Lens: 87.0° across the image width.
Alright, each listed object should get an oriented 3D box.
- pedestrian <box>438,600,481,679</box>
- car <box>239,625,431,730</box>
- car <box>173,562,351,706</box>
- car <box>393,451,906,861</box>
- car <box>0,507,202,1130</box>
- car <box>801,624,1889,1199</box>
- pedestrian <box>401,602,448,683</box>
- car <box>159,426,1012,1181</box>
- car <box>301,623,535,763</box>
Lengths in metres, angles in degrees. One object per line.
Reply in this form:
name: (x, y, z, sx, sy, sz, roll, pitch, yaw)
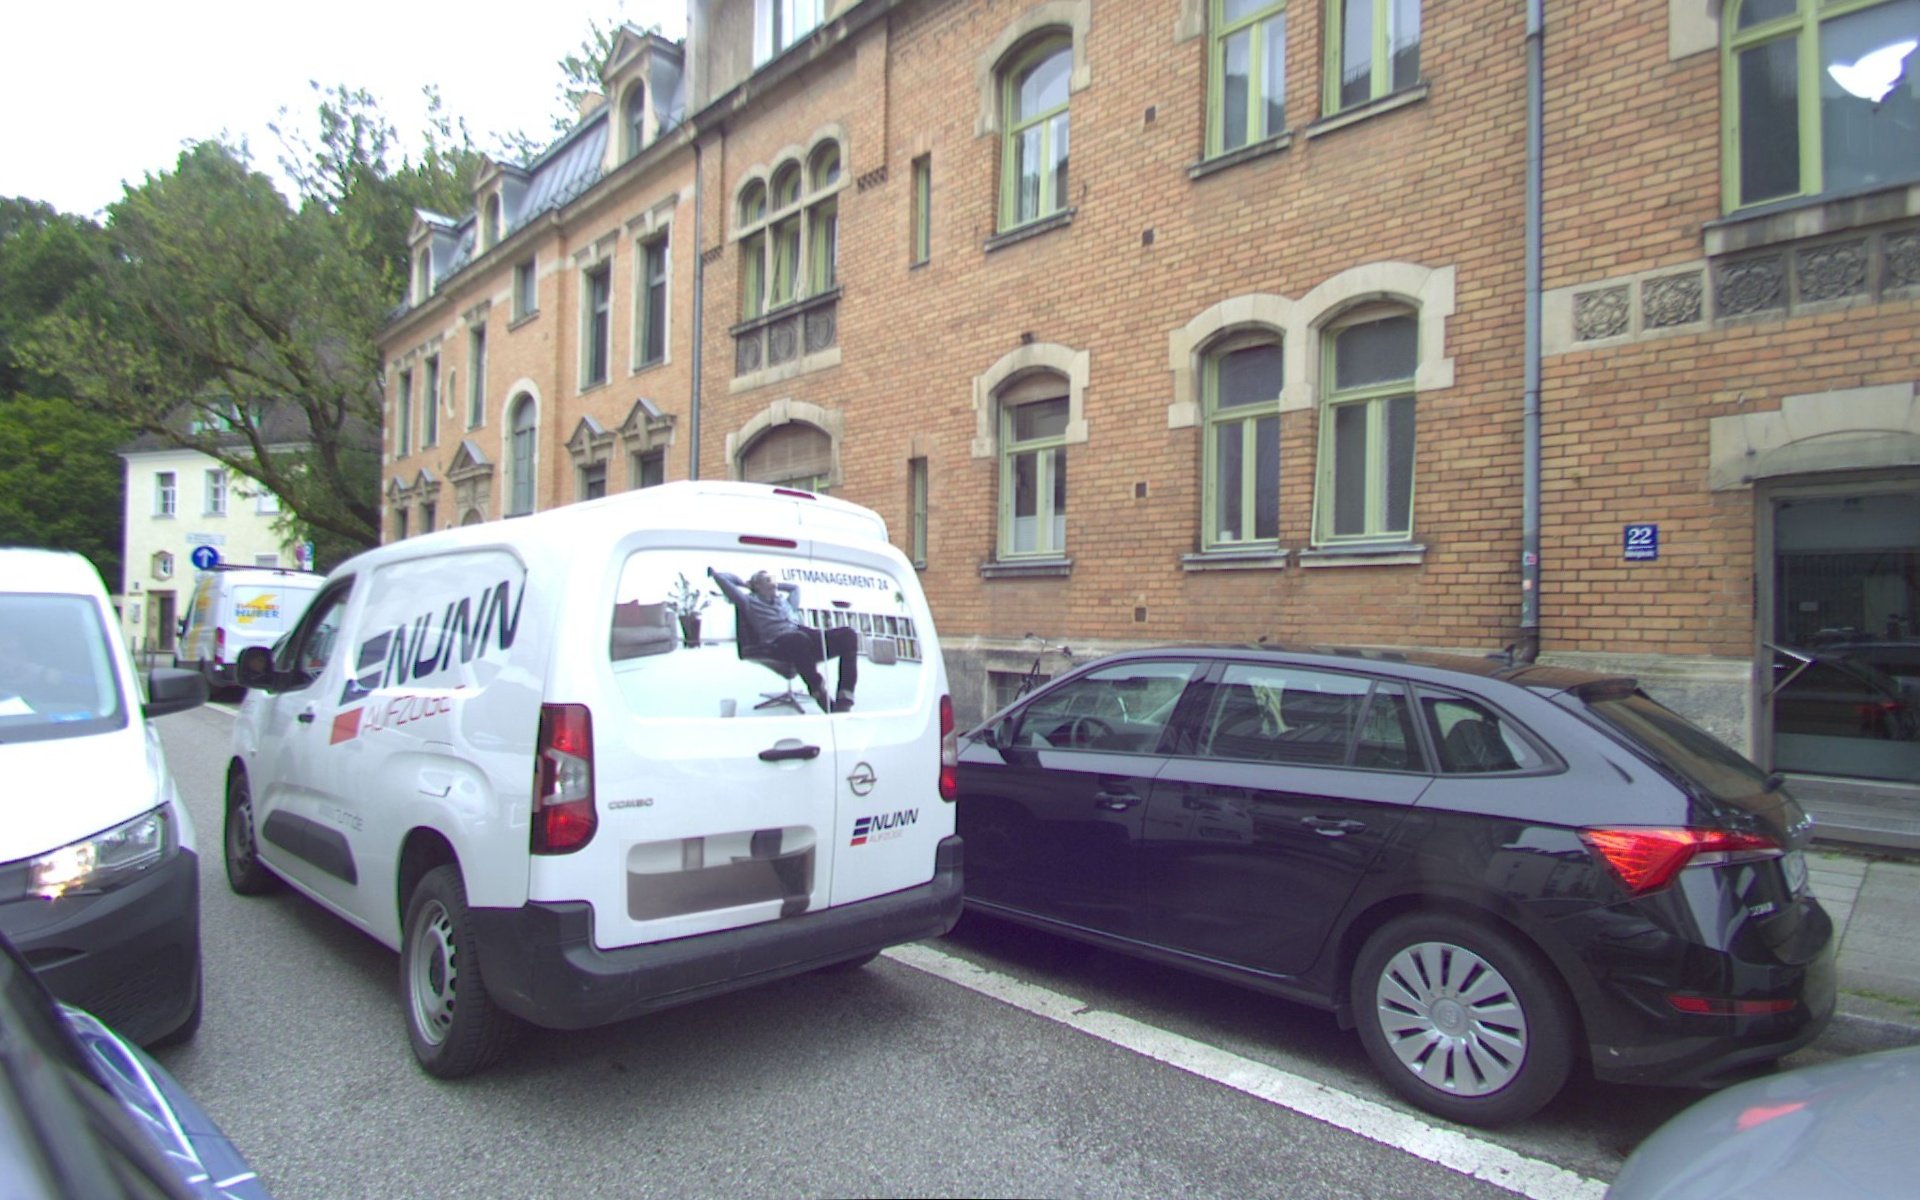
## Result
pedestrian: (-10.644, 0.852, 21.529, 0.625, 1.645, 0.467, 5, -4, -44)
car: (-9.994, 1.159, 16.063, 1.670, 1.454, 3.986, 5, -4, -45)
car: (-14.018, 0.731, 20.229, 2.088, 2.560, 4.424, 6, -5, -44)
car: (-2.959, 0.413, 8.735, 1.958, 2.497, 5.226, 4, -4, -45)
car: (-4.446, 0.644, 4.059, 1.751, 1.785, 4.003, 2, -3, -44)
car: (1.231, 0.864, 4.462, 1.670, 1.454, 4.147, 4, -4, -45)
pedestrian: (-11.102, 0.890, 20.976, 0.625, 1.645, 0.675, 5, -4, -44)
car: (-2.080, 0.539, 4.649, 4.571, 1.817, 1.752, -1, -3, 42)
car: (-6.691, 1.042, 12.339, 1.505, 1.454, 3.543, 5, -4, -45)
